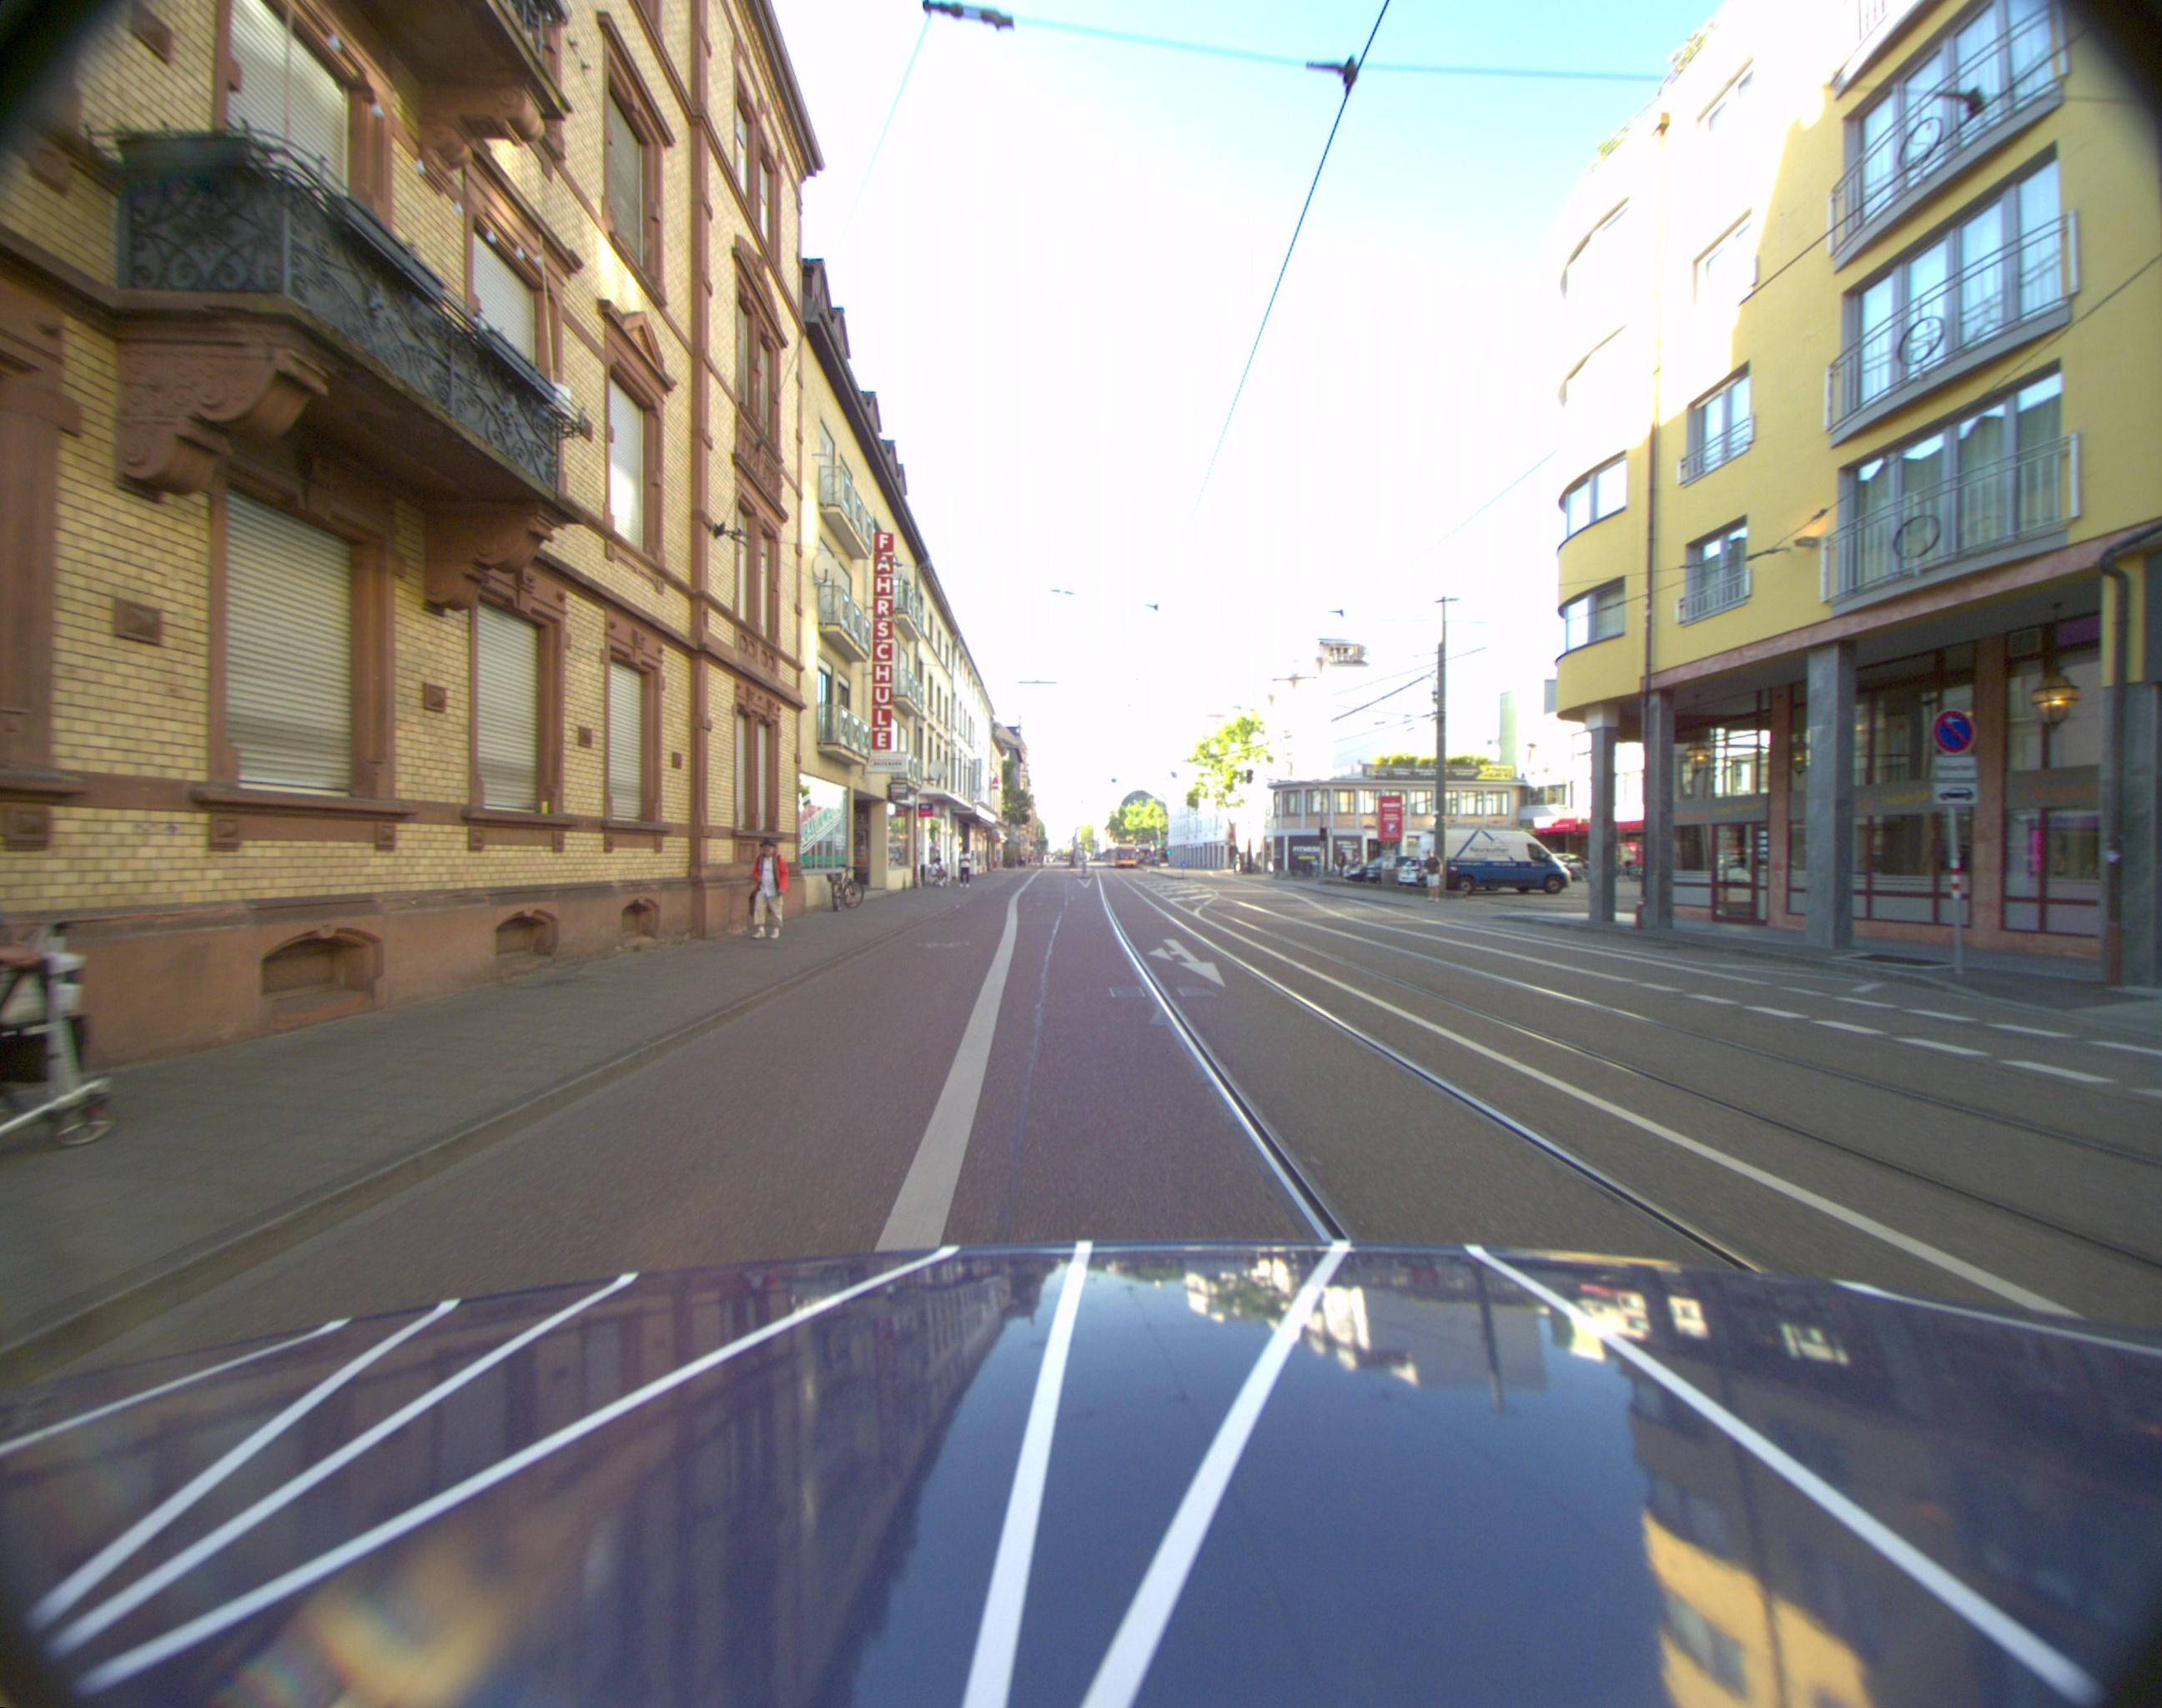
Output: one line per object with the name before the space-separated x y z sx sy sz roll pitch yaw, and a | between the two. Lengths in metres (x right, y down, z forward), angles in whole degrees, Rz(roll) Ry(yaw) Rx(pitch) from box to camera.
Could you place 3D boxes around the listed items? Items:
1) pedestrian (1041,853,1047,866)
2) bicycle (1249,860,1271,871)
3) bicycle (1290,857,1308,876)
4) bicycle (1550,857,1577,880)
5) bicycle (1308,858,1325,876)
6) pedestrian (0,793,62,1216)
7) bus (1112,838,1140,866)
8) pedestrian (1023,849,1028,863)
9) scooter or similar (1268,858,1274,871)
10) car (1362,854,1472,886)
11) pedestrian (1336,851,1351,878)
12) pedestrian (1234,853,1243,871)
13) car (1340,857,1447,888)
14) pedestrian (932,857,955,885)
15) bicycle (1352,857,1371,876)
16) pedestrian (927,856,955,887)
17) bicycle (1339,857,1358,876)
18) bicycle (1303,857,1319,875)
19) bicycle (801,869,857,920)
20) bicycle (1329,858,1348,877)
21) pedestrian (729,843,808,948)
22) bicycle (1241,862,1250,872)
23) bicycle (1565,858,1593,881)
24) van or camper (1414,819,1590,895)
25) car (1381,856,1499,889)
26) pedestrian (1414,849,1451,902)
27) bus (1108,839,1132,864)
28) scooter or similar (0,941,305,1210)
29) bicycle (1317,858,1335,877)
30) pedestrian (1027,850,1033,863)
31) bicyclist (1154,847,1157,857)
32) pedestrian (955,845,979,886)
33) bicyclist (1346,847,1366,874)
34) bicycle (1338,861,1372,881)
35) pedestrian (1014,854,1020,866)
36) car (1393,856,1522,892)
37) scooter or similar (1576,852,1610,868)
pedestrian | -4.784 0.725 98.463 0.694 1.760 0.697 0 1 3
bicycle | 16.071 1.033 68.364 1.849 0.906 0.390 -1 -3 4
bicycle | 14.462 0.823 50.466 0.447 1.180 1.830 1 0 -7
bicycle | 25.351 0.757 39.930 0.432 1.180 1.832 1 0 6
bicycle | 15.426 0.840 49.765 0.449 1.180 1.831 1 0 -4
pedestrian | -4.914 0.610 2.925 0.807 1.789 0.761 4 0 -2
bus | 5.943 -0.304 102.178 2.818 3.547 13.676 0 0 -1
pedestrian | -7.140 0.297 97.734 0.650 1.760 0.697 0 1 3
scooter or similar | 16.712 0.920 66.965 0.335 1.105 1.182 1 1 22
car | 16.507 0.769 37.514 4.600 1.467 1.879 1 0 -1
pedestrian | 16.550 0.659 47.955 0.683 1.687 0.683 1 0 -3
pedestrian | 14.498 0.742 69.987 0.630 1.706 0.826 1 1 26
car | 16.449 0.969 40.177 4.907 1.574 1.879 1 0 -1
pedestrian | -6.199 0.762 34.237 0.708 1.168 1.014 6 0 -21
bicycle | 17.879 0.797 48.464 0.449 1.180 1.831 1 0 -4
pedestrian | -6.122 0.760 33.208 0.833 1.248 0.705 6 0 -36
bicycle | 17.075 0.793 48.578 0.449 1.180 1.831 1 0 -4
bicycle | 14.993 0.788 49.496 0.441 1.180 1.831 1 0 -2
bicycle | -5.926 0.929 18.007 0.556 1.055 2.310 3 0 -1
bicycle | 16.434 0.840 48.474 0.449 1.180 1.831 1 0 -4
pedestrian | -5.153 0.678 12.584 0.800 1.618 0.825 6 -1 -1
bicycle | 14.882 1.164 68.847 0.389 0.907 1.851 -1 0 0
bicycle | 26.001 0.809 39.700 0.432 1.180 1.832 1 0 6
van or camper | 16.403 0.129 29.817 5.620 2.810 2.315 1 0 -1
car | 16.503 0.832 35.073 4.600 1.467 1.879 1 0 -1
pedestrian | 12.315 0.731 26.626 0.835 1.822 0.909 1 0 -2
bus | 5.859 -0.343 115.553 2.818 3.547 13.677 0 0 0
scooter or similar | -4.388 1.007 3.595 0.807 1.064 0.521 5 0 -2
bicycle | 15.949 0.870 49.505 0.444 1.180 1.831 1 0 -4
pedestrian | -7.014 0.365 105.141 0.807 1.789 0.761 0 1 -1
bicyclist | 13.234 -0.401 135.277 0.515 1.690 0.807 -1 1 -1
pedestrian | -5.202 0.546 34.733 0.705 1.801 0.680 6 0 14
bicyclist | 16.045 0.356 44.302 0.838 1.541 0.690 1 2 -18
bicycle | 15.990 1.000 44.307 1.833 1.164 0.682 1 2 -19
pedestrian | -8.077 0.725 96.108 0.651 1.569 0.682 0 1 -8
car | 16.005 0.830 32.458 4.600 1.467 1.879 1 0 -1
scooter or similar | 29.935 0.351 44.422 1.365 0.956 0.915 0 1 -4
